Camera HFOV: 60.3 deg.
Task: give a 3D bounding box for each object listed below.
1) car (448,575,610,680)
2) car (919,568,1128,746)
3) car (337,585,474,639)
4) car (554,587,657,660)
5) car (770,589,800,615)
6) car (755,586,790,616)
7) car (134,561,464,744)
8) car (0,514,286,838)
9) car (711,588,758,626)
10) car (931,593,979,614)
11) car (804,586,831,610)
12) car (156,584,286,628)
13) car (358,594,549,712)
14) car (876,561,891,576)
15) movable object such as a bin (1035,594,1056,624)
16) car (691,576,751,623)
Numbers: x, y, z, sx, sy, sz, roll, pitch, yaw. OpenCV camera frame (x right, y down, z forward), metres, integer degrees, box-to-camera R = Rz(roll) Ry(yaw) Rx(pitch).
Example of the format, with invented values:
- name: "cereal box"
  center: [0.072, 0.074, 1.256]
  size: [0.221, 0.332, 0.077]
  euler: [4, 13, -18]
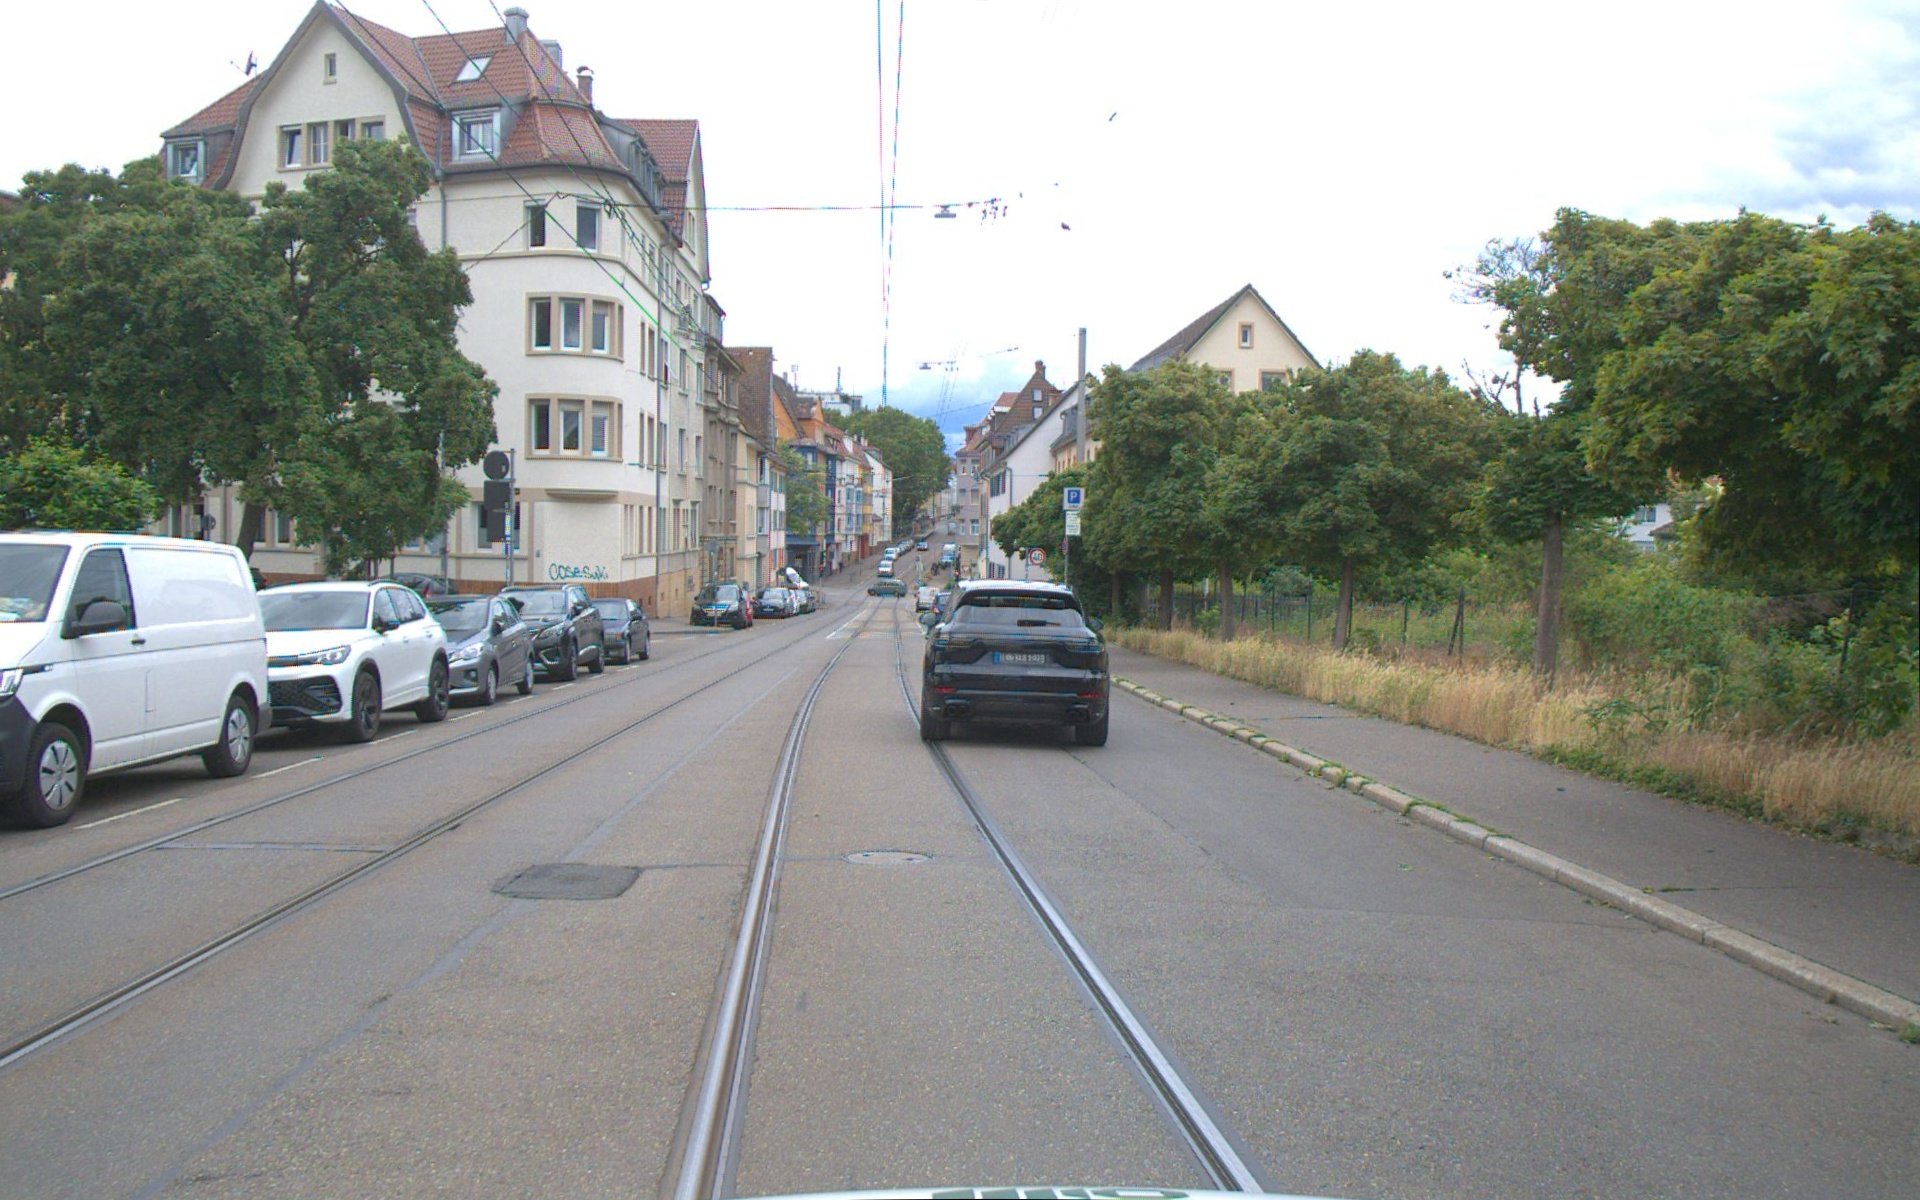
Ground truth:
- name: "car"
  center: [-7.521, 0.476, 29.316]
  size: [1.930, 1.716, 4.441]
  euler: [0, -1, -3]
- name: "car"
  center: [0.578, 0.557, 18.175]
  size: [1.953, 1.705, 3.998]
  euler: [1, 0, -3]
- name: "car"
  center: [-17.732, 0.354, 52.864]
  size: [3.907, 1.599, 1.875]
  euler: [1, 0, 24]
- name: "car"
  center: [-7.685, 0.499, 36.169]
  size: [1.588, 1.503, 4.153]
  euler: [0, -1, -3]
- name: "car"
  center: [-10.199, 0.118, 96.608]
  size: [1.588, 1.489, 3.682]
  euler: [0, -1, -3]
- name: "car"
  center: [-9.692, 0.078, 85.670]
  size: [1.588, 1.489, 4.030]
  euler: [0, -1, -3]
- name: "car"
  center: [-6.923, 0.515, 17.925]
  size: [1.930, 1.716, 4.630]
  euler: [0, -1, -3]
- name: "car"
  center: [-6.821, 0.472, 12.250]
  size: [1.930, 1.946, 4.731]
  euler: [0, -1, -3]
- name: "car"
  center: [-9.129, 0.285, 67.025]
  size: [1.588, 1.489, 3.743]
  euler: [0, -1, -3]
- name: "car"
  center: [-0.417, 0.328, 146.394]
  size: [3.746, 1.800, 2.000]
  euler: [1, 0, 21]
- name: "car"
  center: [-9.041, -0.094, 105.039]
  size: [1.588, 1.499, 4.552]
  euler: [0, -1, -3]
- name: "car"
  center: [-25.035, 0.195, 56.013]
  size: [3.907, 1.378, 1.875]
  euler: [1, 0, 24]
- name: "car"
  center: [-7.084, 0.705, 23.499]
  size: [1.704, 1.535, 3.866]
  euler: [0, -1, -3]
- name: "car"
  center: [-9.341, -3.855, 202.511]
  size: [1.715, 1.790, 4.252]
  euler: [1, 0, -1]
- name: "movable object such as a bin"
  center: [3.612, 0.363, 70.012]
  size: [0.776, 1.239, 0.788]
  euler: [1, 0, -6]
- name: "car"
  center: [-8.779, -0.007, 61.021]
  size: [1.830, 1.674, 4.399]
  euler: [0, -1, -3]
